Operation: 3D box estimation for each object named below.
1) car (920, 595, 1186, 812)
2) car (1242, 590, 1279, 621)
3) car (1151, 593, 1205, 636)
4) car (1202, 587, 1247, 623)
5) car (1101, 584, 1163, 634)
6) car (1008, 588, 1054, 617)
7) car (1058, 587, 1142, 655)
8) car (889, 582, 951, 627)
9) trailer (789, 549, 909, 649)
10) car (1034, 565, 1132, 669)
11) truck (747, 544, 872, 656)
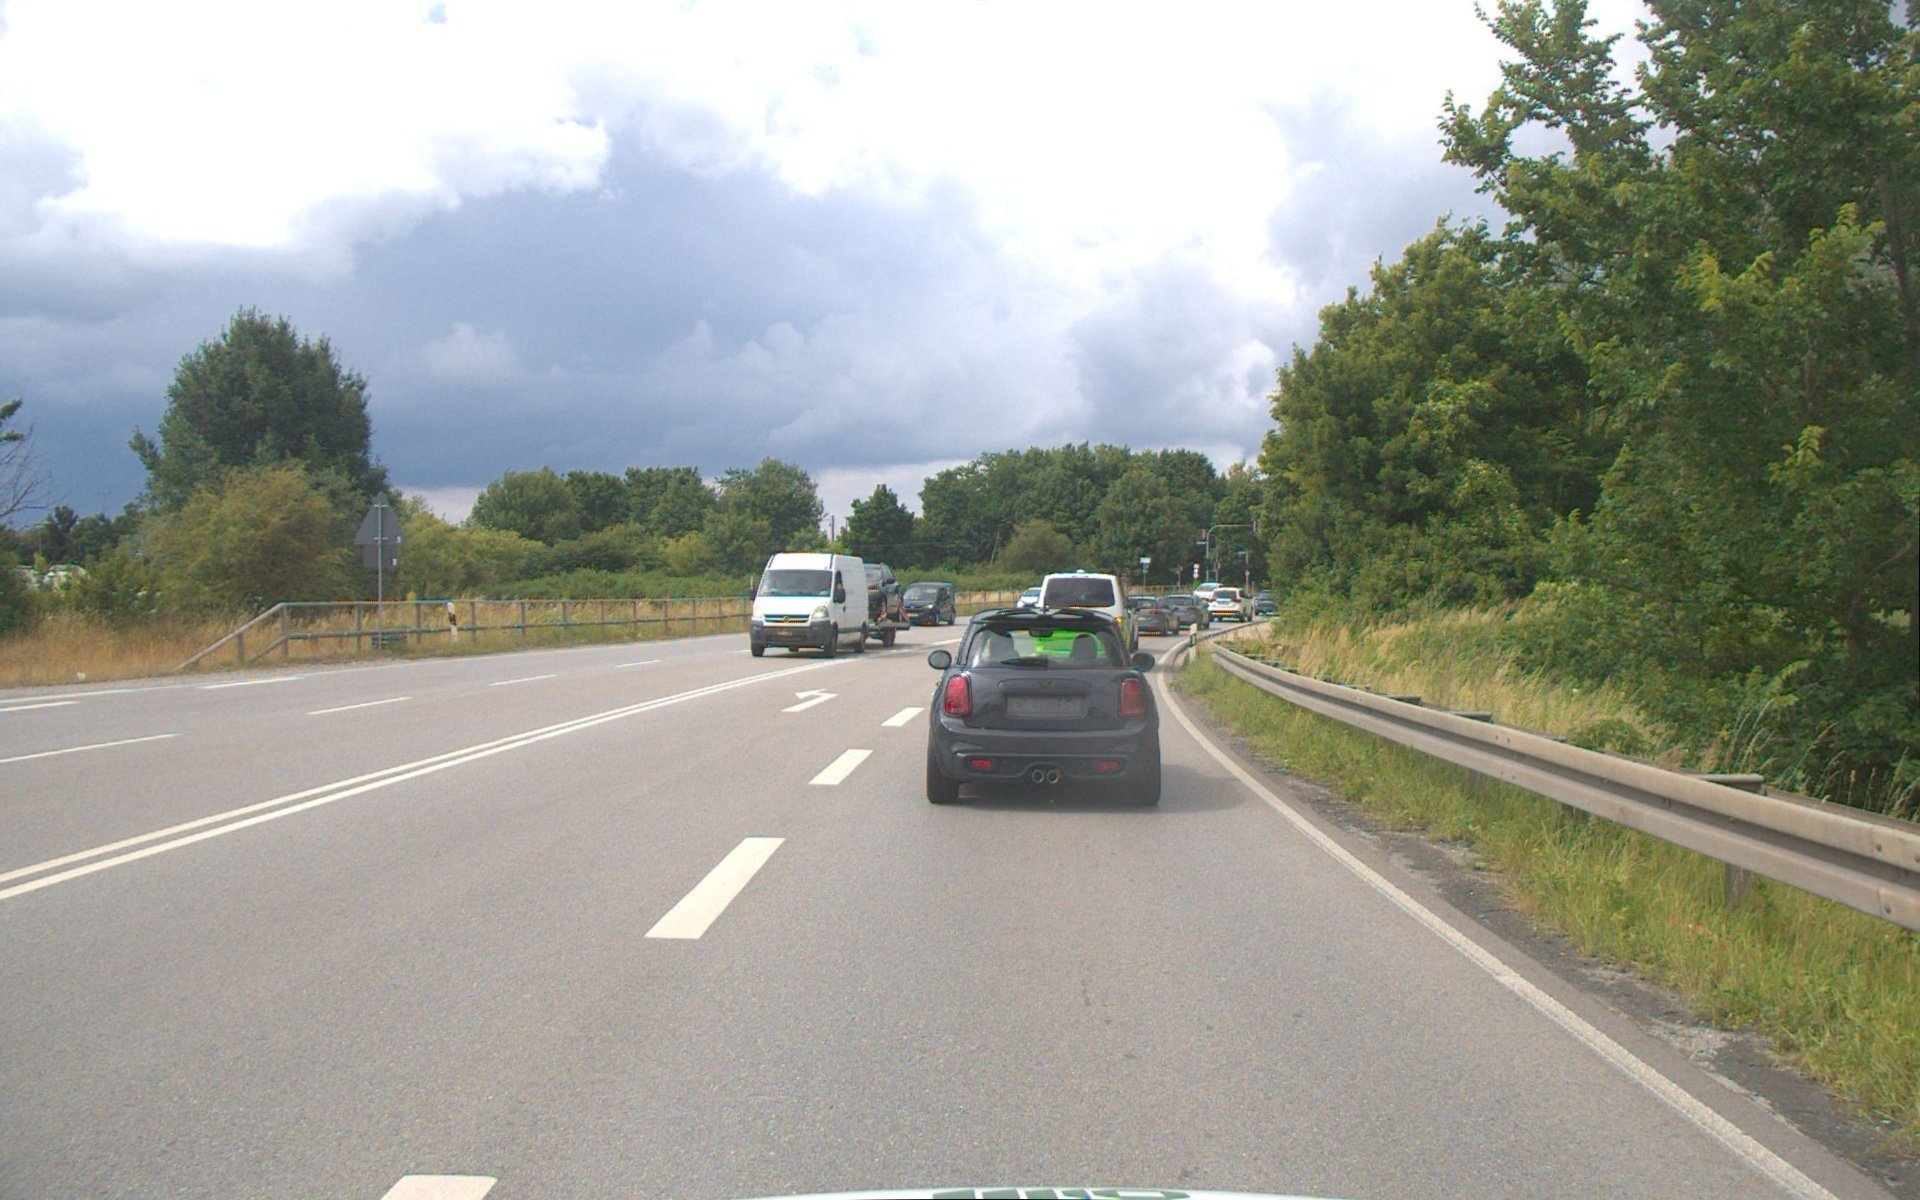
[{"bbox_3d":[0.680,0.713,13.354,1.807,1.453,3.841,1,0,1],"label":"car"},{"bbox_3d":[17.389,0.321,95.513,1.951,1.713,4.003,2,0,12],"label":"car"},{"bbox_3d":[9.324,0.600,70.433,1.951,1.713,3.980,2,0,12],"label":"car"},{"bbox_3d":[13.282,0.248,82.902,1.951,1.713,4.003,2,0,12],"label":"car"},{"bbox_3d":[6.388,0.337,61.194,1.951,1.713,4.003,2,0,10],"label":"car"},{"bbox_3d":[3.854,0.102,89.715,1.836,1.515,3.747,1,1,13],"label":"car"},{"bbox_3d":[3.804,0.552,44.512,1.951,1.713,4.003,1,0,9],"label":"car"},{"bbox_3d":[-1.648,0.161,69.493,1.951,1.828,4.323,1,1,8],"label":"car"},{"bbox_3d":[-2.917,-0.036,45.201,1.980,2.487,6.971,1,0,7],"label":"trailer"},{"bbox_3d":[2.636,0.354,34.625,1.805,2.022,3.844,1,0,7],"label":"car"},{"bbox_3d":[-3.545,-0.012,39.946,1.980,2.487,5.028,1,0,7],"label":"truck"}]
